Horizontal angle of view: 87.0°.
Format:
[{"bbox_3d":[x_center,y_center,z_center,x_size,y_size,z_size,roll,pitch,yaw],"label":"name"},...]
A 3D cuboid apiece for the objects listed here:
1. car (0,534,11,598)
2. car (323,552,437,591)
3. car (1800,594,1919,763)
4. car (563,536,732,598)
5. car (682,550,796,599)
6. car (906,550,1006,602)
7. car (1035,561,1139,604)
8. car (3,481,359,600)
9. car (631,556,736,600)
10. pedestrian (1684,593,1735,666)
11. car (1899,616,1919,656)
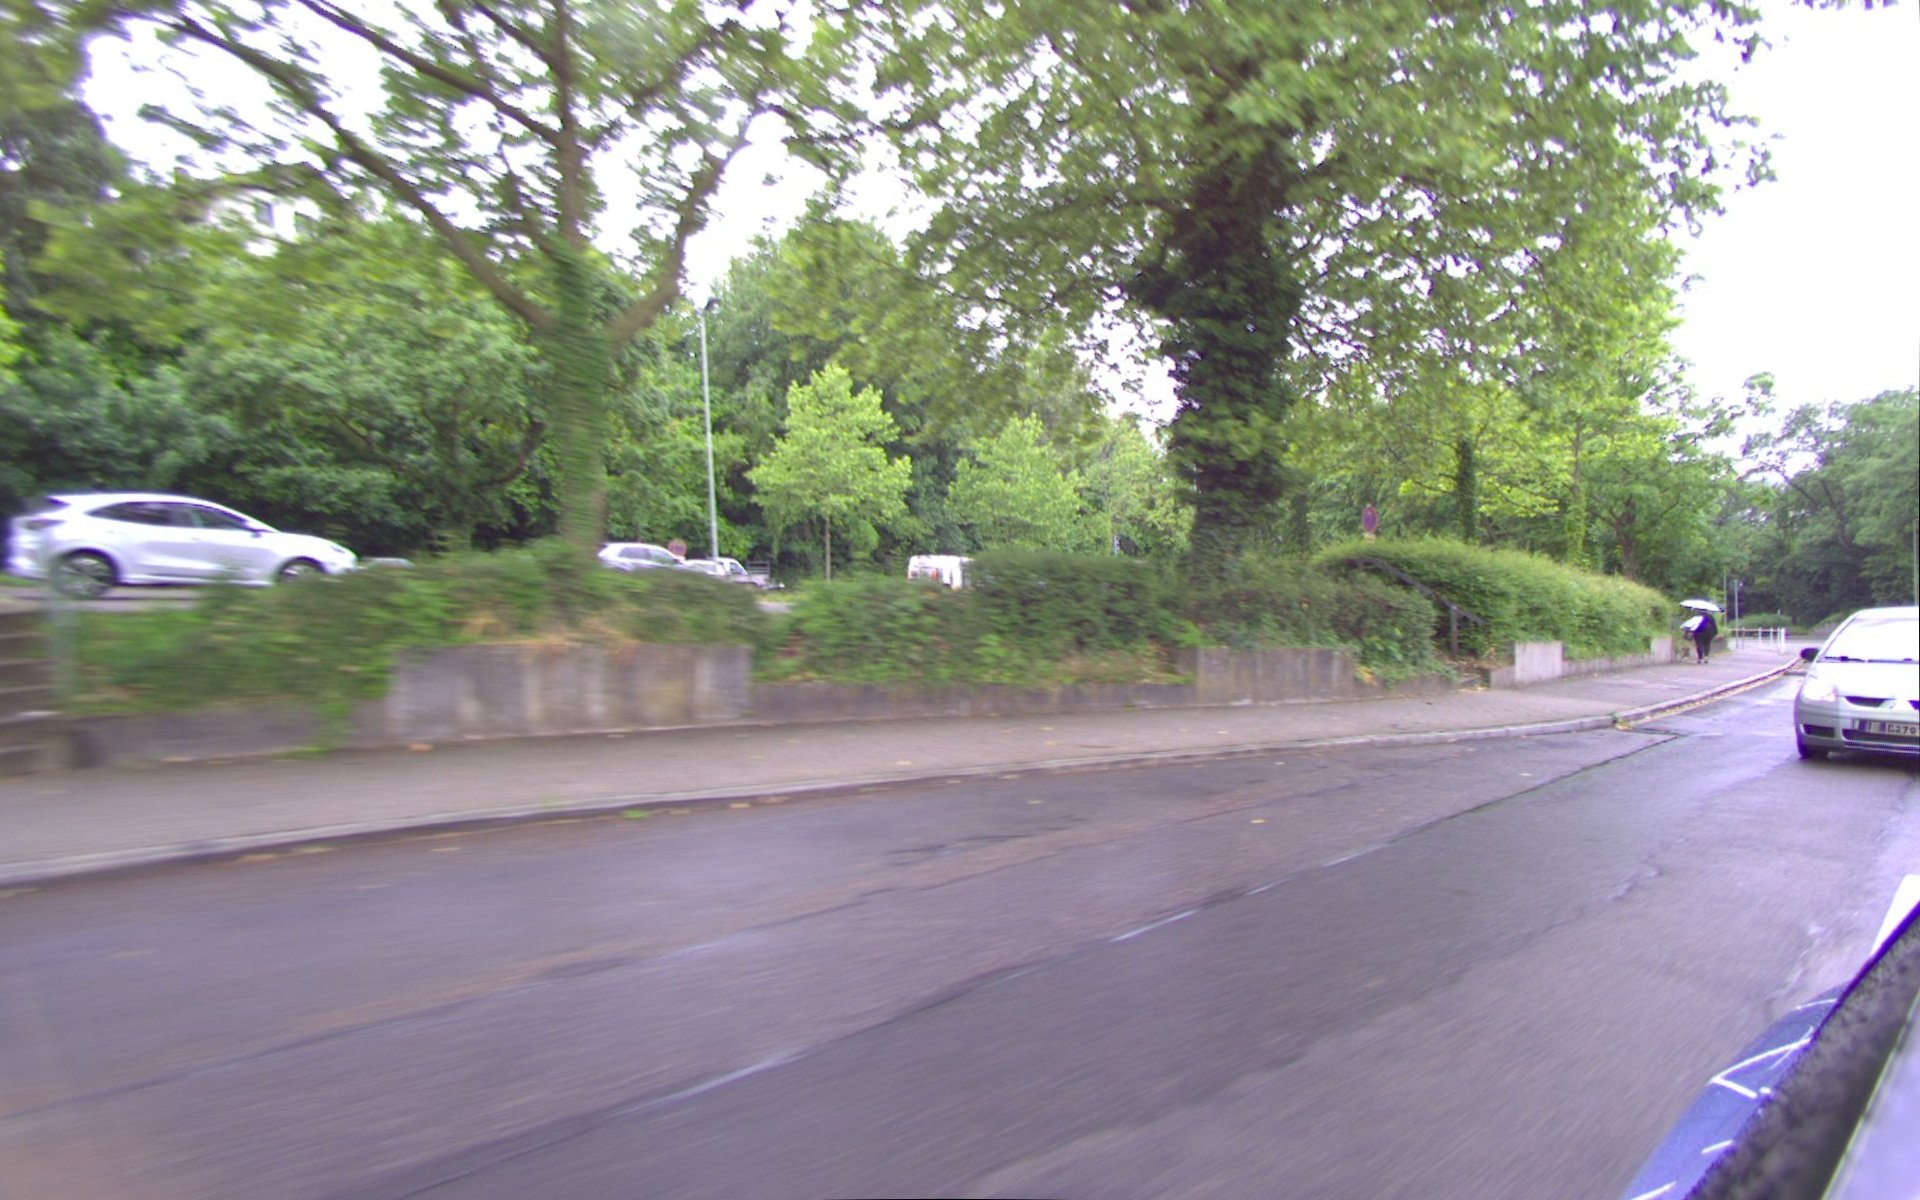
[{"bbox_3d":[-28.969,-0.941,28.434,4.130,1.792,1.790,-1,-2,22],"label":"car"},{"bbox_3d":[-23.132,-1.100,40.496,1.688,1.338,3.675,-1,-2,26],"label":"car"},{"bbox_3d":[10.157,0.702,10.372,3.928,1.524,1.639,0,-1,-39],"label":"car"},{"bbox_3d":[-8.607,-0.846,28.113,1.894,1.472,4.104,-2,-2,45],"label":"car"},{"bbox_3d":[-7.722,-0.838,35.465,3.569,1.543,1.703,1,-2,-44],"label":"car"},{"bbox_3d":[-0.117,-0.958,43.023,4.282,2.040,1.703,1,-2,-44],"label":"car"},{"bbox_3d":[4.927,-0.642,38.951,1.894,1.472,4.104,-2,-2,45],"label":"car"},{"bbox_3d":[-11.762,-0.779,15.464,1.894,1.472,4.104,-2,-2,45],"label":"car"},{"bbox_3d":[-10.610,-0.791,38.963,3.569,1.543,1.703,1,-2,-44],"label":"car"},{"bbox_3d":[20.472,0.789,27.626,1.050,1.917,1.117,0,1,40],"label":"pedestrian"},{"bbox_3d":[43.505,1.582,45.184,2.027,1.723,3.942,-2,-2,39],"label":"car"}]
